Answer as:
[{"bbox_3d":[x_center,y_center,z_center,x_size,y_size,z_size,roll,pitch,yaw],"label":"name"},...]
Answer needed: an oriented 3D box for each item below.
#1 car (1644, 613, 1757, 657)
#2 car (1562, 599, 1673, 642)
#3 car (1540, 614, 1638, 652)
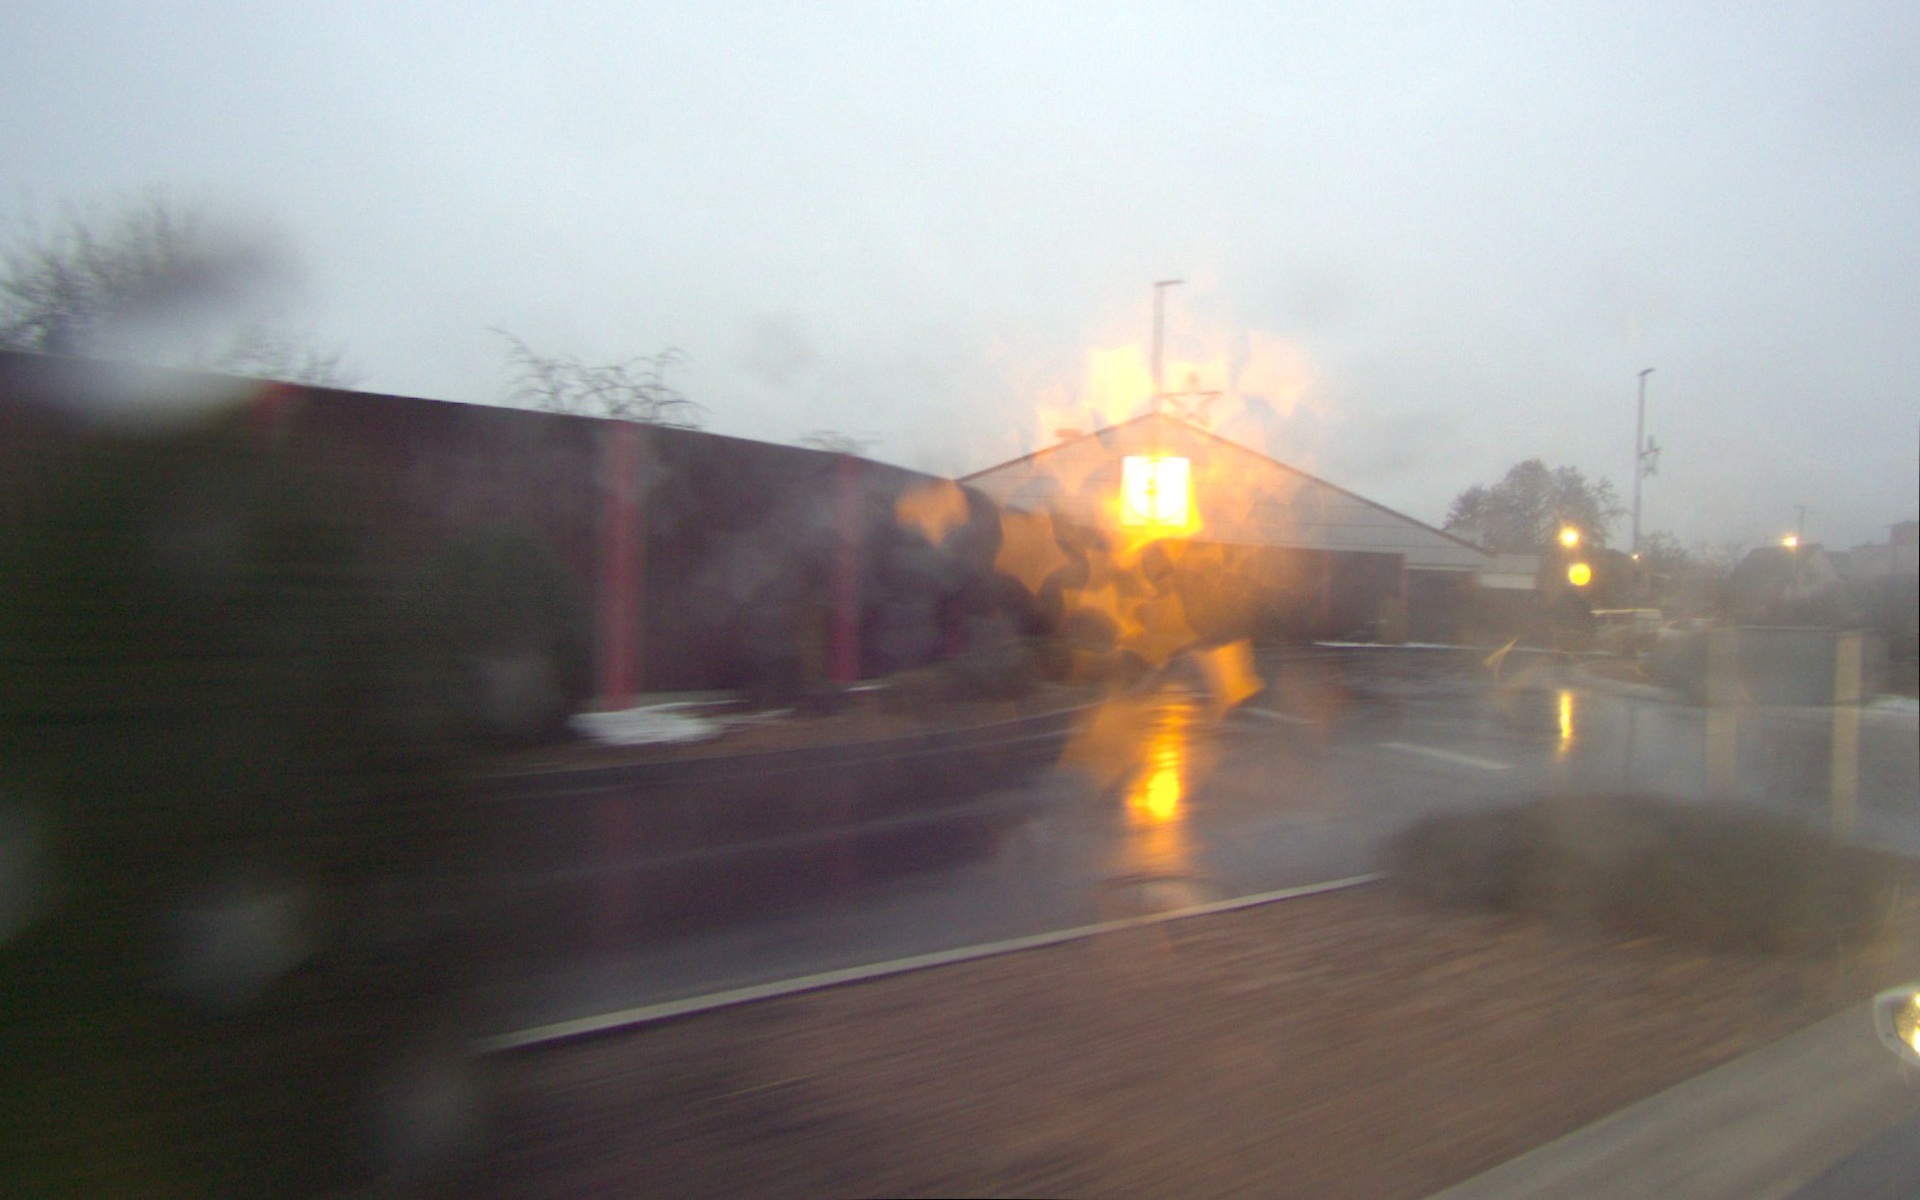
[{"bbox_3d":[32.635,1.506,44.436,2.023,1.582,4.282,4,2,5],"label":"car"},{"bbox_3d":[39.248,1.181,60.017,5.320,2.162,2.032,4,1,-4],"label":"car"},{"bbox_3d":[28.054,1.442,44.973,1.806,1.329,3.999,3,2,0],"label":"car"}]
